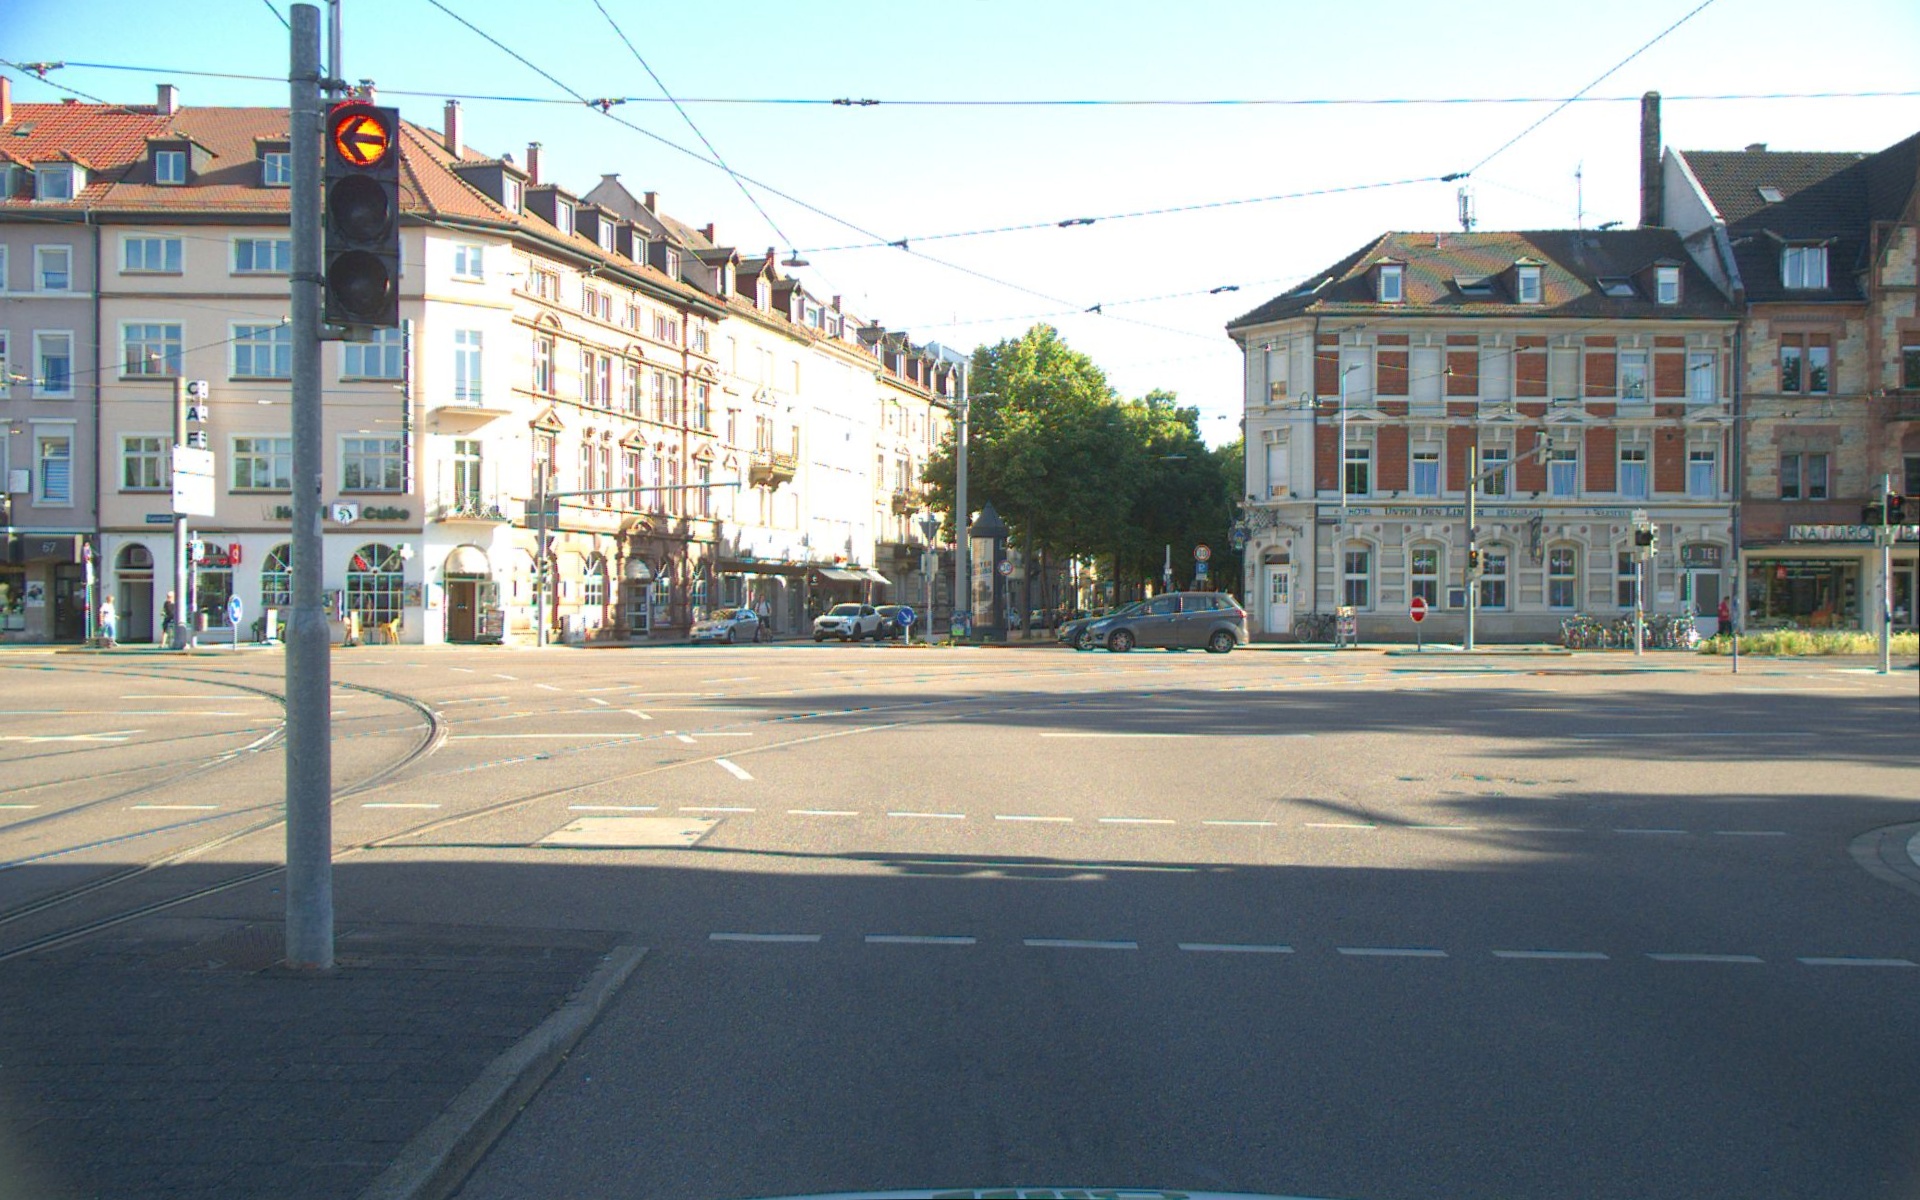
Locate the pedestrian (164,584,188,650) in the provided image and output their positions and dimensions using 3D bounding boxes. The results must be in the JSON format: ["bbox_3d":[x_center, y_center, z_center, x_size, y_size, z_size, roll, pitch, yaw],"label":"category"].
[{"bbox_3d":[-24.670,0.536,52.037,0.498,2.049,0.505,0,0,2],"label":"pedestrian"}]

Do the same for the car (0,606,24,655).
[{"bbox_3d":[-32.066,0.996,52.157,3.910,1.489,1.998,-1,1,-6],"label":"car"}]

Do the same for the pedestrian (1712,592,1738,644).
[{"bbox_3d":[26.247,0.601,56.742,0.694,1.782,0.421,0,0,0],"label":"pedestrian"}]

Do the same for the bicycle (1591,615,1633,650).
[{"bbox_3d":[21.114,1.042,53.601,0.593,1.069,1.641,0,0,-6],"label":"bicycle"}]

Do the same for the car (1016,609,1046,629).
[{"bbox_3d":[5.325,1.406,122.846,1.704,1.422,4.127,3,0,9],"label":"car"}]

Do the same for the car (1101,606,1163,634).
[{"bbox_3d":[11.996,1.395,115.391,4.024,1.675,1.748,3,0,15],"label":"car"}]

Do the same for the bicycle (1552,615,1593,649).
[{"bbox_3d":[19.822,1.020,53.519,0.593,1.069,1.641,0,0,-6],"label":"bicycle"}]

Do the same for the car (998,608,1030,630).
[{"bbox_3d":[3.795,1.350,115.846,1.704,1.422,4.127,3,0,9],"label":"car"}]

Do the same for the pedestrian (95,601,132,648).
[{"bbox_3d":[-28.208,0.799,55.129,0.774,1.553,0.859,0,0,0],"label":"pedestrian"}]

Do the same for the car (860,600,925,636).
[{"bbox_3d":[-2.964,0.792,73.478,1.951,1.540,4.004,0,0,11],"label":"car"}]

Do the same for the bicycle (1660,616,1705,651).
[{"bbox_3d":[23.327,1.080,53.430,0.593,1.069,1.641,0,0,-6],"label":"bicycle"}]

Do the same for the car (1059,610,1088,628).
[{"bbox_3d":[9.410,1.566,136.509,1.704,1.422,4.127,3,0,13],"label":"car"}]

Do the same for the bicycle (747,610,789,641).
[{"bbox_3d":[-7.578,0.990,65.499,0.734,1.155,2.812,0,0,14],"label":"bicycle"}]

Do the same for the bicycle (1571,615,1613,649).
[{"bbox_3d":[20.462,1.031,53.575,0.593,1.069,1.641,0,0,-6],"label":"bicycle"}]

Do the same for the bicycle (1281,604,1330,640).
[{"bbox_3d":[11.972,0.759,57.309,1.603,1.243,0.607,0,0,16],"label":"bicycle"}]

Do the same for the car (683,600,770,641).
[{"bbox_3d":[-9.455,0.808,67.225,2.052,1.572,4.367,0,0,13],"label":"car"}]

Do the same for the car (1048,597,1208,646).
[{"bbox_3d":[4.849,0.609,48.203,4.420,1.364,1.999,0,0,-3],"label":"car"}]

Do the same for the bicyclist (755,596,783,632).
[{"bbox_3d":[-7.564,0.539,65.469,0.776,1.399,1.109,0,0,14],"label":"bicyclist"}]

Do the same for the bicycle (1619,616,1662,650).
[{"bbox_3d":[21.940,1.055,53.333,0.593,1.069,1.641,0,0,-6],"label":"bicycle"}]

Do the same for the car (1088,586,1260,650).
[{"bbox_3d":[5.792,0.474,45.087,4.418,1.701,1.999,0,0,-2],"label":"car"}]

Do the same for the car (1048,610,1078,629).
[{"bbox_3d":[8.234,1.530,131.713,1.704,1.422,4.127,3,0,13],"label":"car"}]

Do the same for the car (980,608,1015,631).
[{"bbox_3d":[2.518,1.303,110.022,1.704,1.422,4.127,3,0,9],"label":"car"}]

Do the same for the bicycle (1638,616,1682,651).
[{"bbox_3d":[22.601,1.067,53.409,0.593,1.069,1.641,0,0,-6],"label":"bicycle"}]

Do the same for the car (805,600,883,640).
[{"bbox_3d":[-4.656,0.785,67.084,2.052,1.525,4.003,0,0,13],"label":"car"}]
